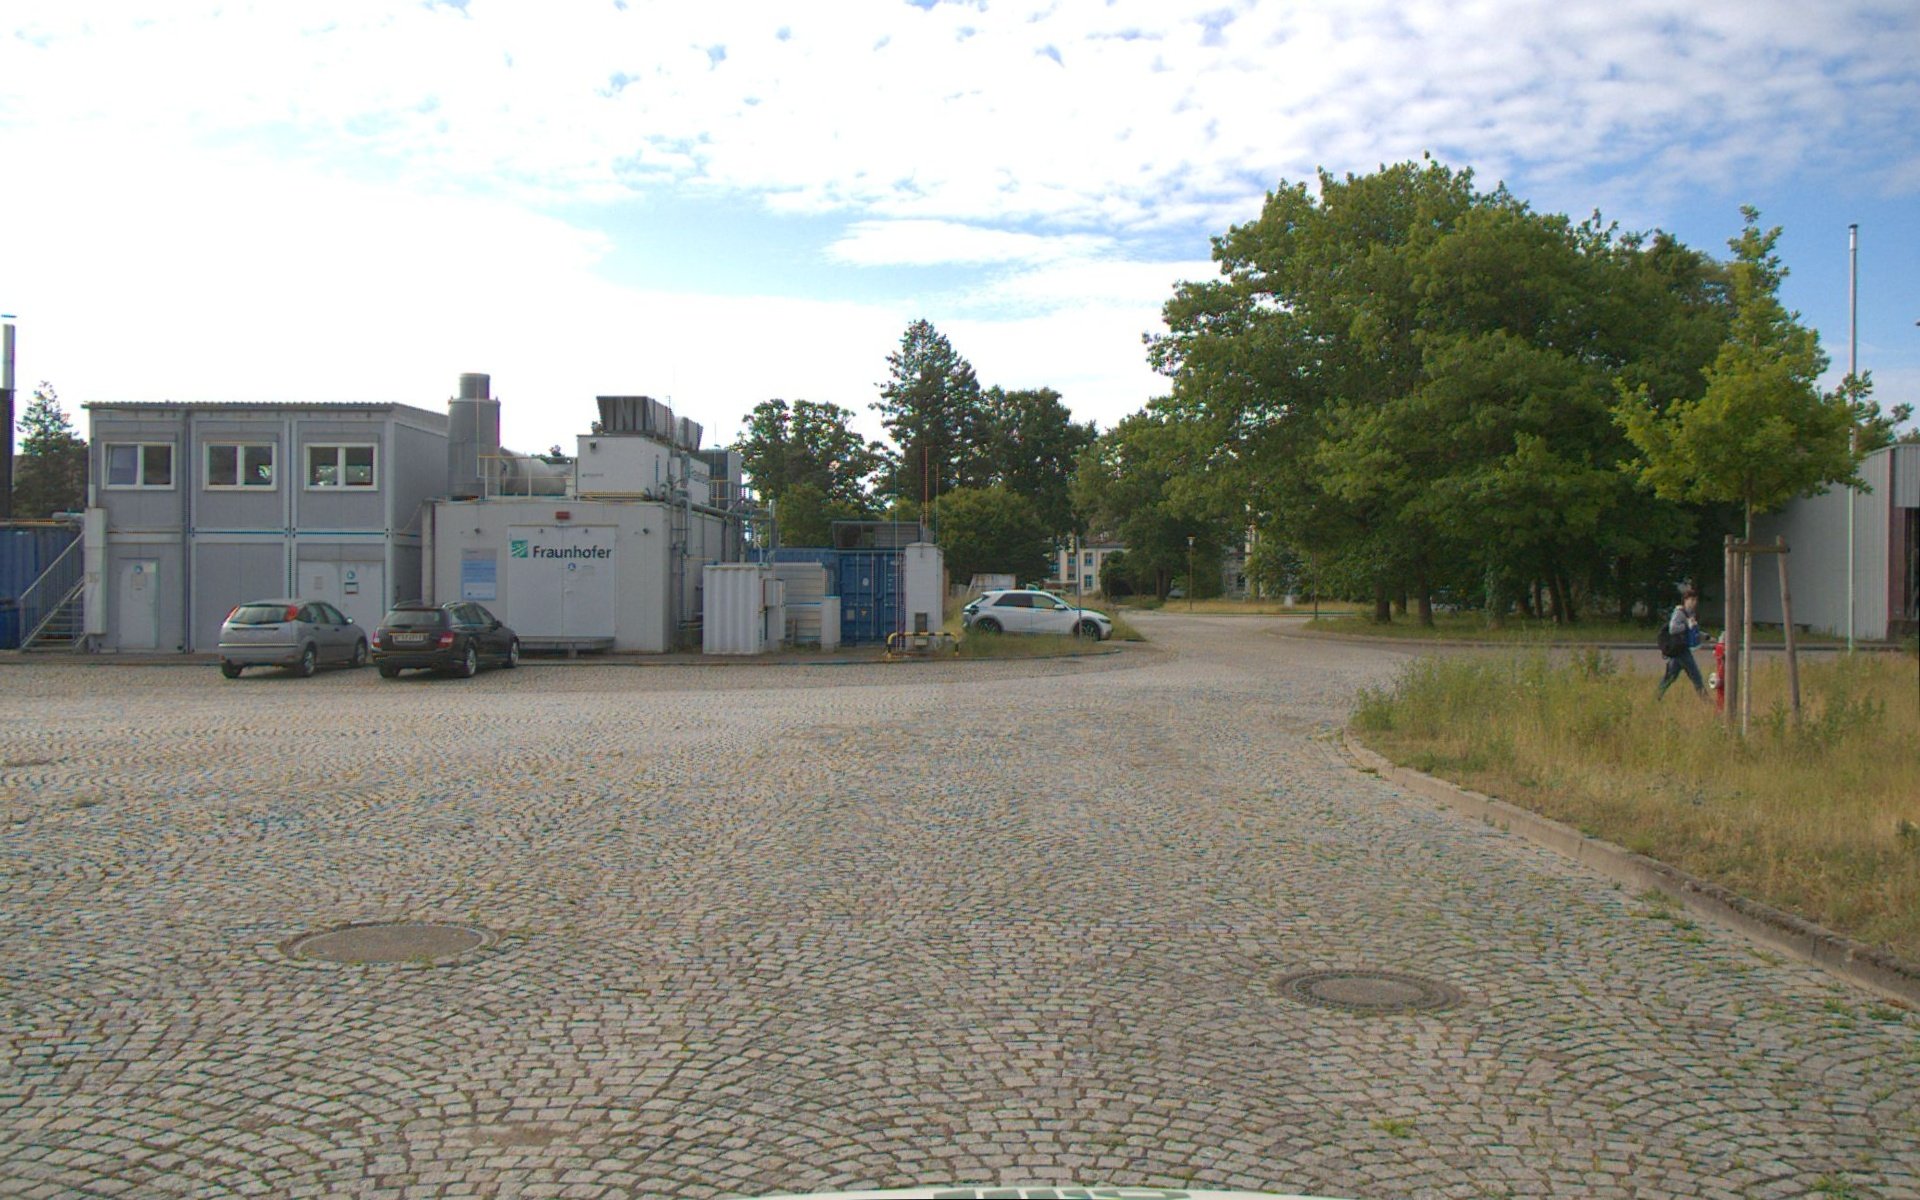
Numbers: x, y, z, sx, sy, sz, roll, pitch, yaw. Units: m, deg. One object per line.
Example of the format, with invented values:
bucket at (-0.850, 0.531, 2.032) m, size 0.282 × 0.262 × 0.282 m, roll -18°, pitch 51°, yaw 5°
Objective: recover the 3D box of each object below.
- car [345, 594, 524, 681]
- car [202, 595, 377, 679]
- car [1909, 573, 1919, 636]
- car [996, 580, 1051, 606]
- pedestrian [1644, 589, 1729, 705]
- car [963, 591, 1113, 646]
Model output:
car at (-10.370, 0.687, 33.030) m, size 1.994 × 1.478 × 4.531 m, roll 0°, pitch 2°, yaw 2°
car at (-13.419, 0.688, 33.373) m, size 1.867 × 1.501 × 4.047 m, roll 0°, pitch 1°, yaw 0°
car at (32.287, 0.136, 51.754) m, size 2.195 × 2.049 × 5.337 m, roll 0°, pitch 0°, yaw 1°
car at (5.795, -0.656, 151.437) m, size 5.063 × 2.378 × 2.000 m, roll 0°, pitch 0°, yaw 1°
pedestrian at (10.222, 0.635, 23.256) m, size 1.054 × 1.583 × 1.074 m, roll 0°, pitch 0°, yaw 26°
car at (2.369, 0.554, 49.874) m, size 4.438 × 1.627 × 2.001 m, roll 0°, pitch 0°, yaw 4°
